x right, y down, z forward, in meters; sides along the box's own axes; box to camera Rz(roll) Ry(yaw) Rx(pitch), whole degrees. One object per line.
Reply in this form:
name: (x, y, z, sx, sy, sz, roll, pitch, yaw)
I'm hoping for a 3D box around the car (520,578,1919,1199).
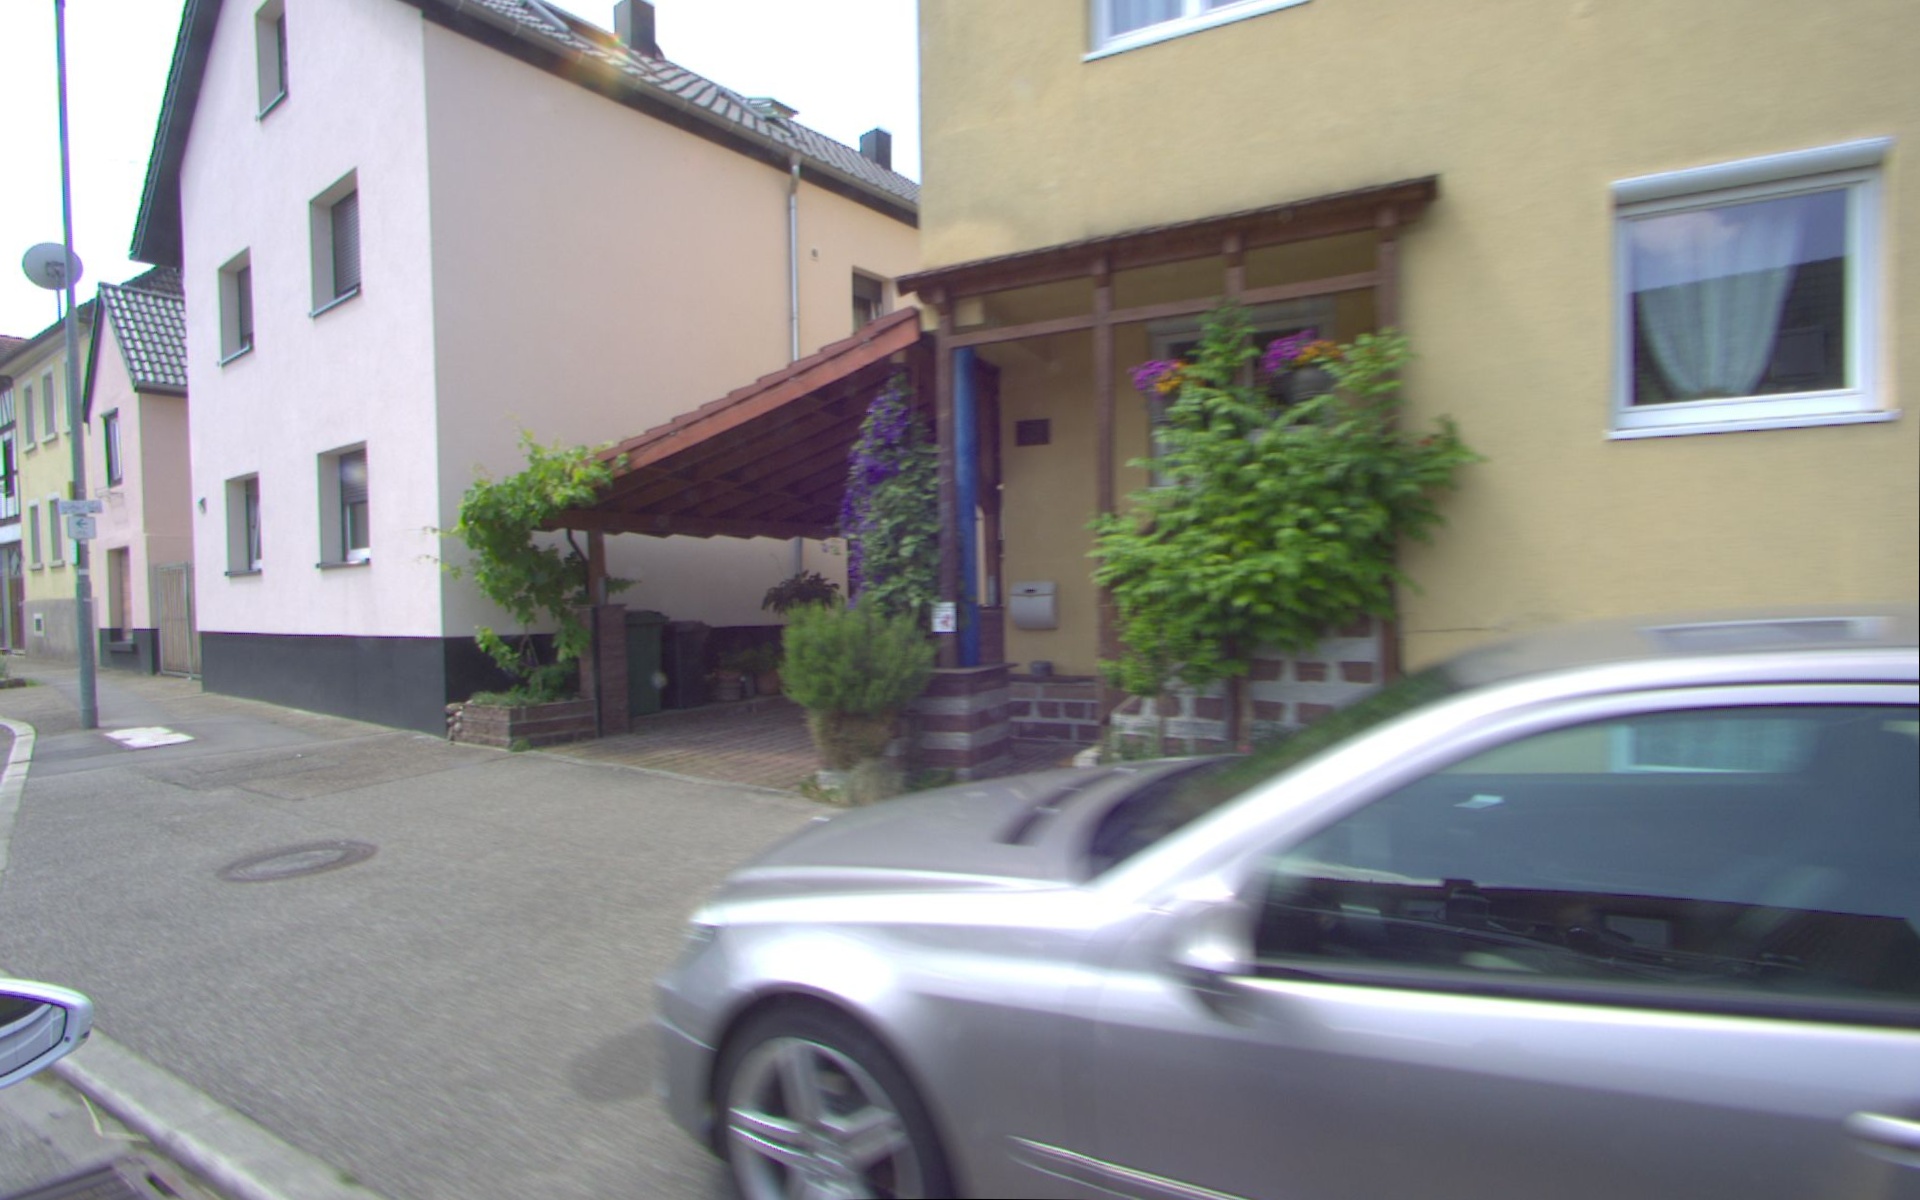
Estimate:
car: (1.202, 0.724, 2.091, 4.364, 1.419, 1.764, -2, 2, 34)
